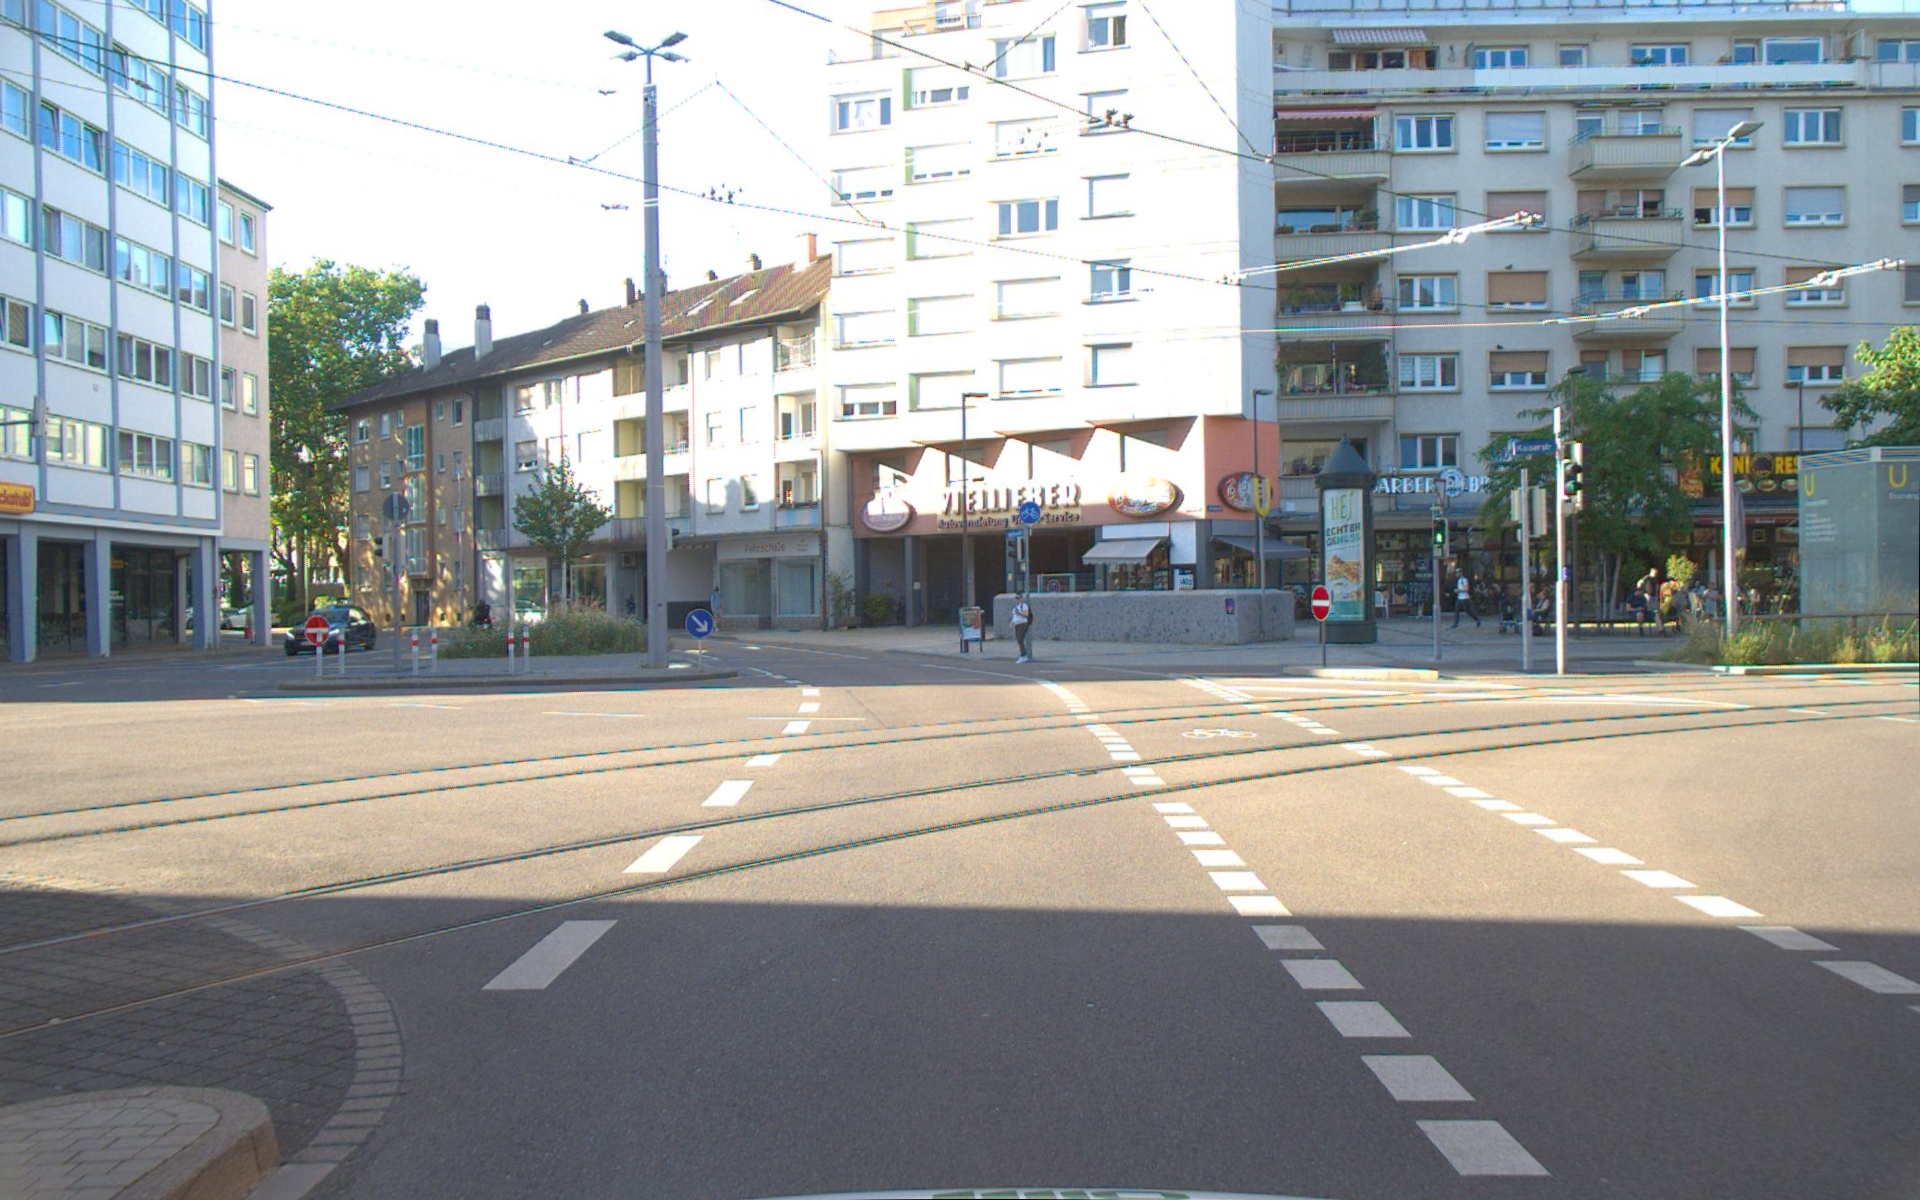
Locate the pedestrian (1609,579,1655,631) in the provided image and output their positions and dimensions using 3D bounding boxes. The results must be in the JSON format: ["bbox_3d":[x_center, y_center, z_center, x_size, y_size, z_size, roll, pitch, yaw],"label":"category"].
[{"bbox_3d":[18.259,0.126,44.937,0.705,1.388,1.106,-1,1,-8],"label":"pedestrian"}]

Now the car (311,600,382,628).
[{"bbox_3d":[-32.193,0.745,86.746,3.928,1.413,1.918,0,0,42],"label":"car"}]

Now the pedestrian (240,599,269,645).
[{"bbox_3d":[-27.788,0.860,65.104,0.762,1.754,0.803,-1,0,42],"label":"pedestrian"}]

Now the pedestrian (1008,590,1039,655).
[{"bbox_3d":[1.610,0.570,41.776,0.536,1.611,0.548,-1,0,-43],"label":"pedestrian"}]

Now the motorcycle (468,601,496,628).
[{"bbox_3d":[-21.085,0.631,72.988,0.956,1.151,2.797,0,0,-12],"label":"motorcycle"}]

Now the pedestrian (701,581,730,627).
[{"bbox_3d":[-10.342,0.176,70.020,0.932,1.886,0.728,-2,2,45],"label":"pedestrian"}]

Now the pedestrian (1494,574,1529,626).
[{"bbox_3d":[15.830,0.002,47.492,0.706,1.471,0.926,0,1,35],"label":"pedestrian"}]

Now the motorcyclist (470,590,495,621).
[{"bbox_3d":[-21.108,0.248,73.113,0.953,1.370,1.134,0,0,-12],"label":"motorcyclist"}]

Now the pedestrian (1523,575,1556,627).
[{"bbox_3d":[16.352,0.014,46.651,0.705,1.445,0.927,0,1,32],"label":"pedestrian"}]

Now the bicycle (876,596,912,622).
[{"bbox_3d":[-2.712,0.384,67.788,0.492,1.056,1.612,-1,0,-44],"label":"bicycle"}]

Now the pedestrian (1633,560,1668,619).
[{"bbox_3d":[20.936,-0.321,50.129,0.668,1.776,0.716,-1,0,-10],"label":"pedestrian"}]

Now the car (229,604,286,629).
[{"bbox_3d":[-45.691,1.070,107.547,2.025,1.531,4.026,-2,1,-45],"label":"car"}]

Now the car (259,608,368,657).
[{"bbox_3d":[-20.359,0.995,52.259,1.796,1.410,4.593,-1,0,-3],"label":"car"}]

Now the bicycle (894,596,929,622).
[{"bbox_3d":[-2.015,0.372,68.323,0.492,1.056,1.612,-1,0,-44],"label":"bicycle"}]

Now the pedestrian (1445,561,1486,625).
[{"bbox_3d":[15.340,-0.211,50.162,1.020,1.899,0.688,-1,0,2],"label":"pedestrian"}]
